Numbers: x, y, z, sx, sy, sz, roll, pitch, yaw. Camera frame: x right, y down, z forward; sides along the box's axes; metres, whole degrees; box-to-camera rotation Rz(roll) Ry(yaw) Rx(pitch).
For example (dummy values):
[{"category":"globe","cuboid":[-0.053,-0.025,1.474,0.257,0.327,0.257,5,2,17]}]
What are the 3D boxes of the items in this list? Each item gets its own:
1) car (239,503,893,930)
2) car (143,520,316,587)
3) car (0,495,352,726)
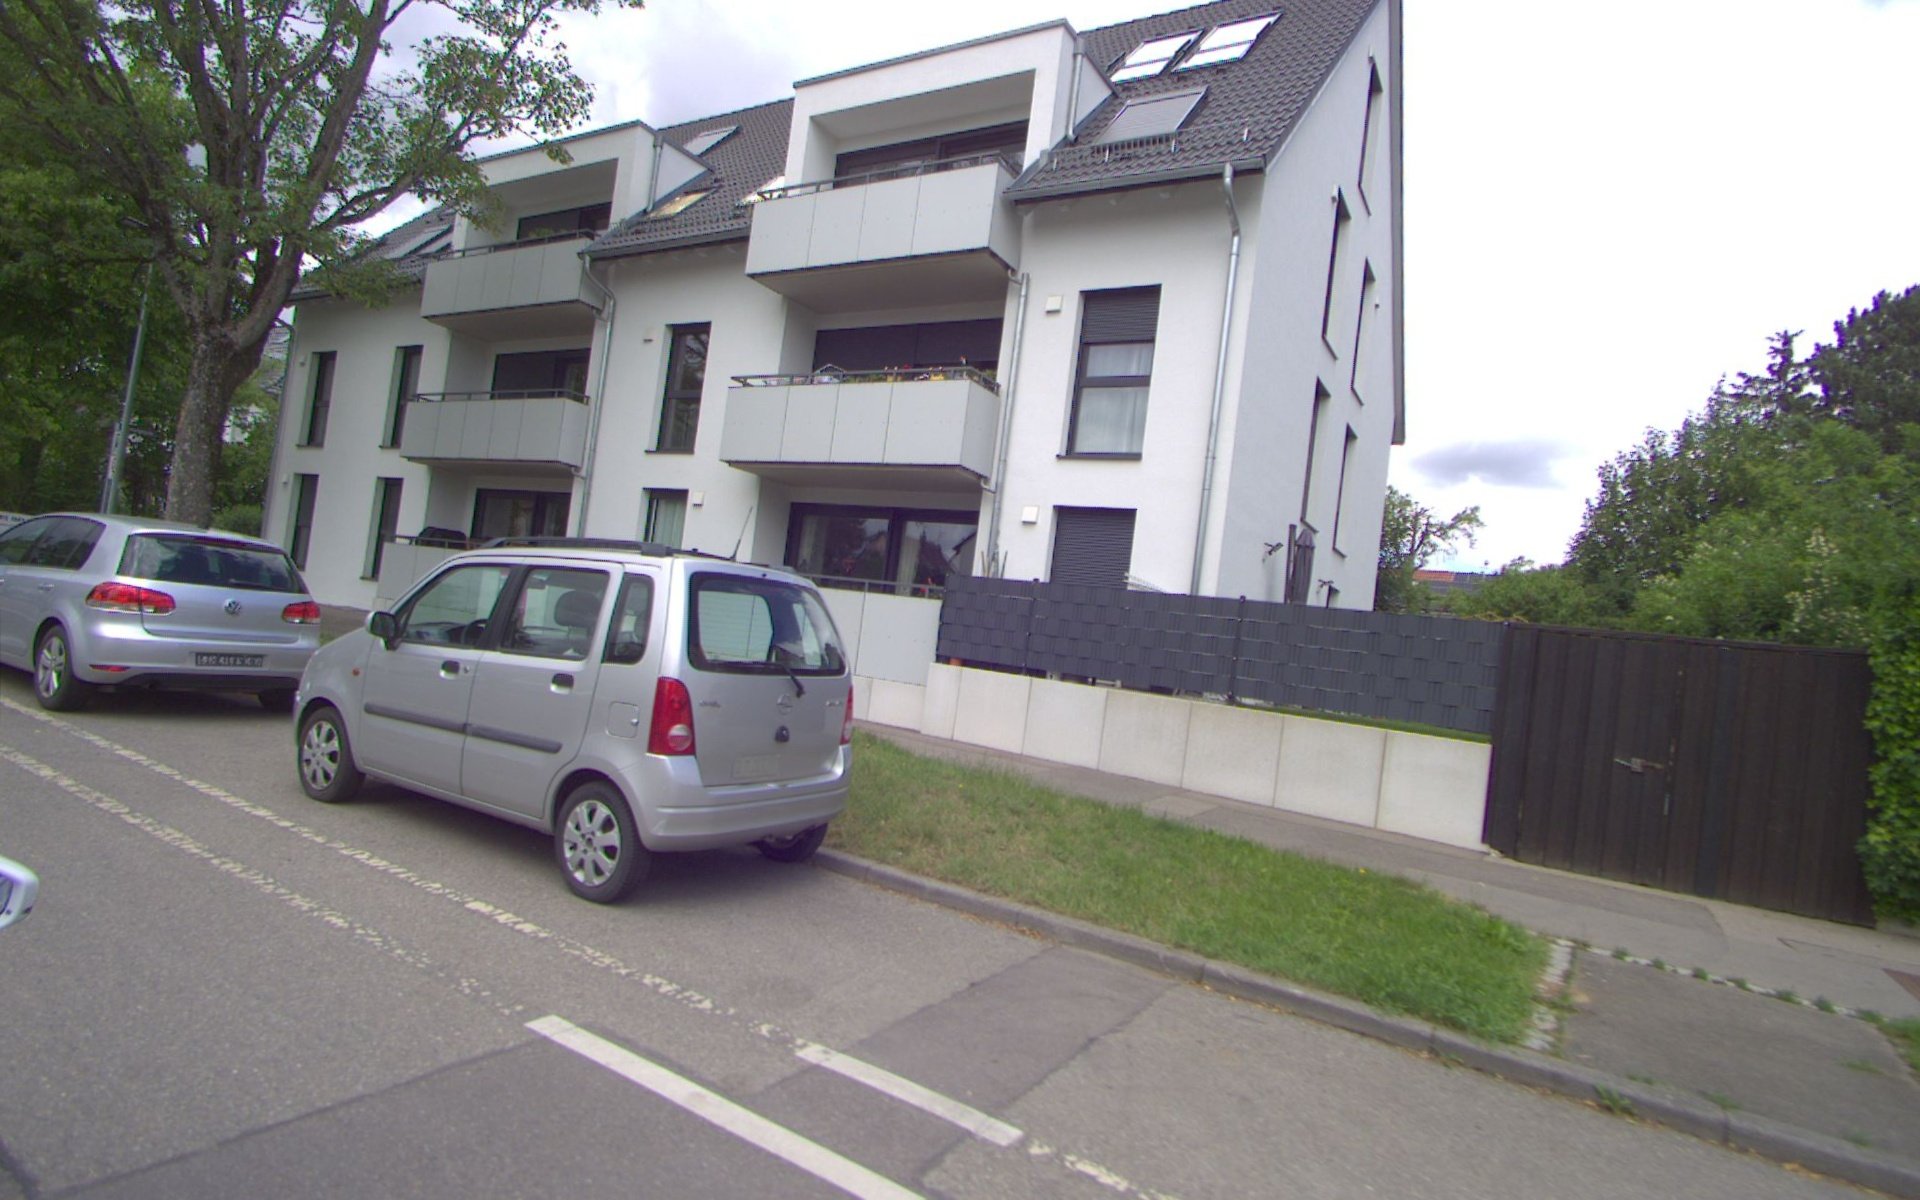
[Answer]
[{"category":"car","cuboid":[-2.417,0.489,5.973,3.587,1.685,1.635,7,-1,32]},{"category":"car","cuboid":[-23.314,-1.443,32.268,1.762,1.476,3.998,8,-2,27]},{"category":"car","cuboid":[-7.305,-0.010,8.661,4.156,1.510,1.690,6,-1,31]}]
